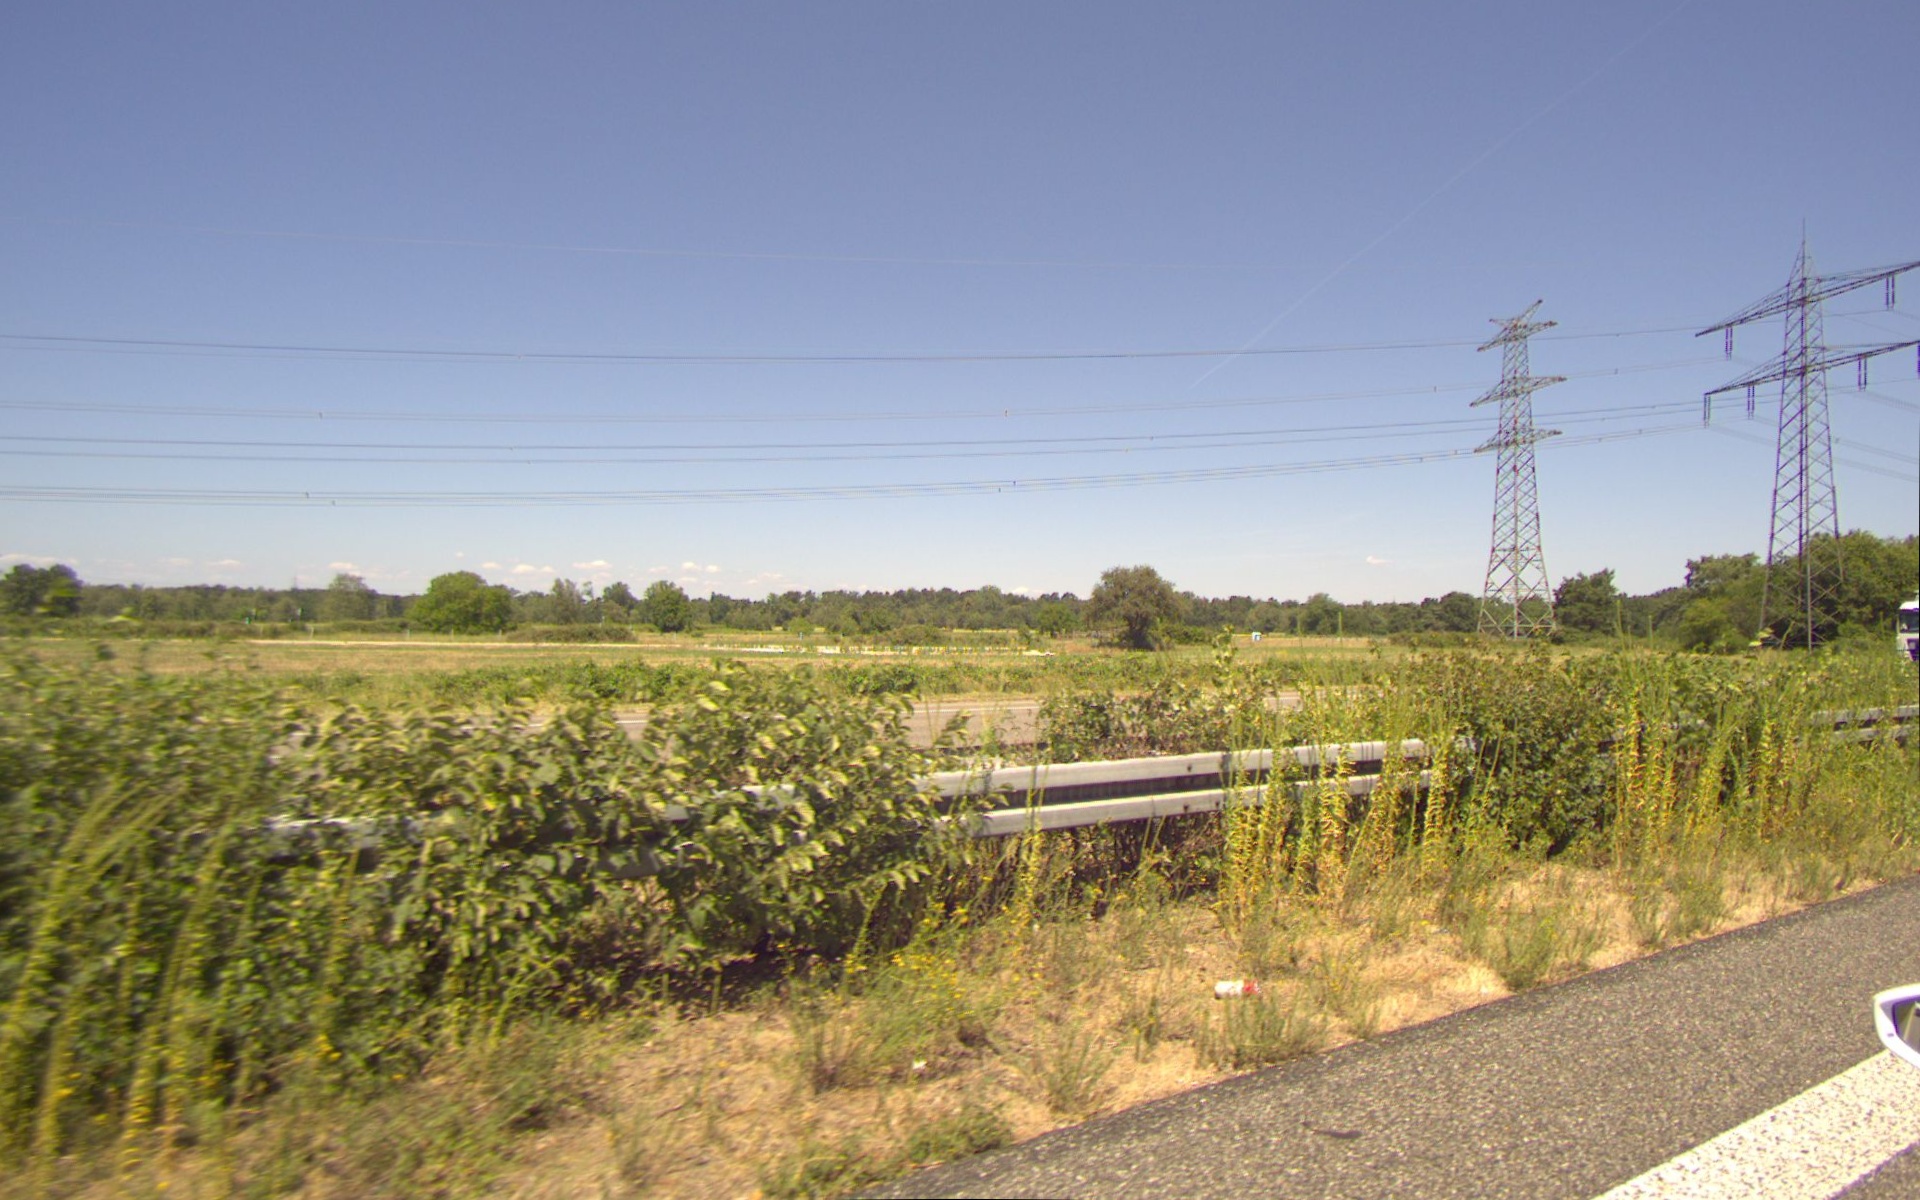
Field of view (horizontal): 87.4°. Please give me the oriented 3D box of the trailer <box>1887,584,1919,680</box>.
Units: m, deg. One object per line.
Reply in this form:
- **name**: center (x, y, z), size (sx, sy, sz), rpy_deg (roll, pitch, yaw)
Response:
- **trailer**: center (51.056, 1.629, 49.913), size (14.154, 4.466, 3.352), rpy_deg (2, -3, -31)

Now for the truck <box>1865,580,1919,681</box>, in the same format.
- **truck**: center (45.545, 1.438, 46.617), size (6.479, 4.466, 3.353), rpy_deg (1, -3, -30)
